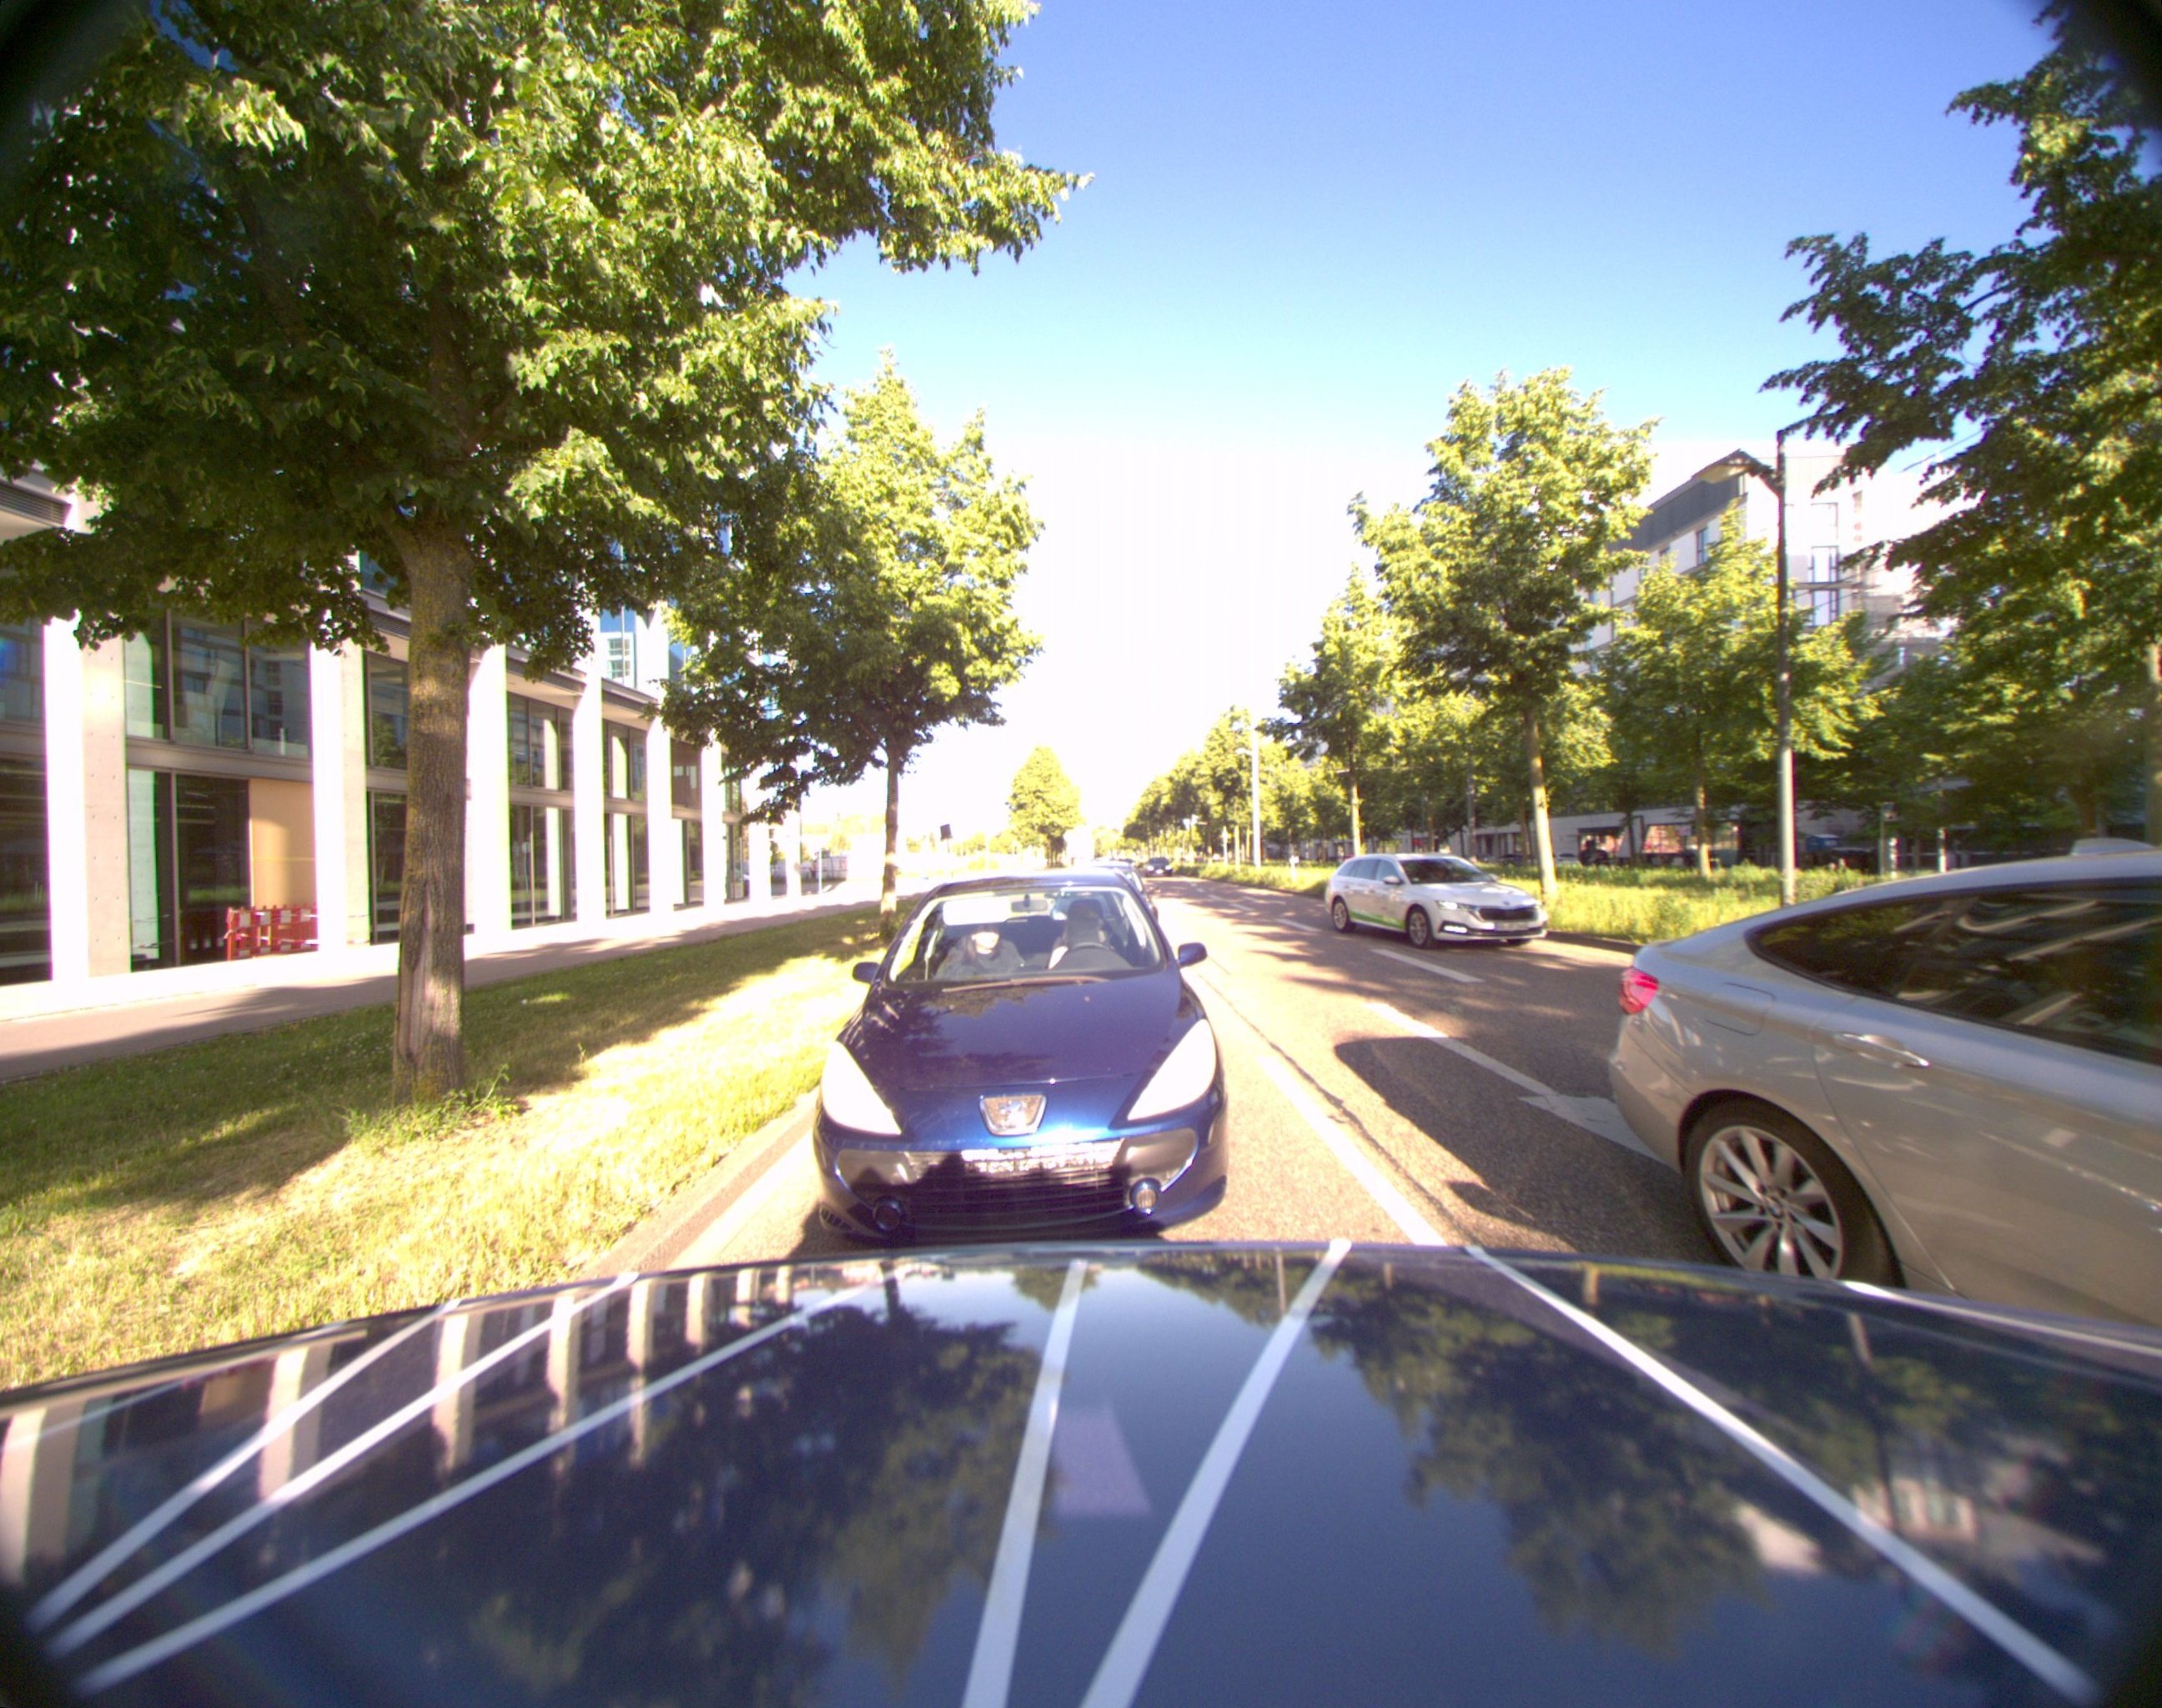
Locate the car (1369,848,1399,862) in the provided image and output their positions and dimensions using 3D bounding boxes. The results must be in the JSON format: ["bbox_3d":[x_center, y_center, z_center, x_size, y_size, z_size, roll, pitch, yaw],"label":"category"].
[{"bbox_3d":[35.494,0.153,89.019,1.884,1.588,4.184,-1,0,1],"label":"car"}]

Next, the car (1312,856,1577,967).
[{"bbox_3d":[5.646,0.784,12.582,1.804,1.439,4.566,-1,0,-6],"label":"car"}]

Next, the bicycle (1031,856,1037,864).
[{"bbox_3d":[-8.655,1.114,139.920,0.931,1.355,4.000,-1,0,1],"label":"bicycle"}]

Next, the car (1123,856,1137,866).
[{"bbox_3d":[6.789,0.956,105.814,1.878,1.415,4.344,-1,0,2],"label":"car"}]

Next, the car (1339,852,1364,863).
[{"bbox_3d":[35.792,0.475,100.587,1.998,1.387,4.001,-1,0,3],"label":"car"}]

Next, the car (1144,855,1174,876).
[{"bbox_3d":[5.773,0.826,56.592,1.861,1.482,4.000,-1,0,1],"label":"car"}]

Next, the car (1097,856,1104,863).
[{"bbox_3d":[4.891,1.322,189.920,1.878,1.561,4.344,-1,0,2],"label":"car"}]

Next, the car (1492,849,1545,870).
[{"bbox_3d":[35.184,0.417,61.225,1.884,1.588,4.184,-1,0,1],"label":"car"}]

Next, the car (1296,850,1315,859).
[{"bbox_3d":[36.599,0.028,124.148,1.998,1.387,4.000,-1,0,1],"label":"car"}]

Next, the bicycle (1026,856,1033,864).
[{"bbox_3d":[-9.774,1.149,144.023,0.931,1.355,4.000,-1,0,1],"label":"bicycle"}]

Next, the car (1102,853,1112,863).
[{"bbox_3d":[4.451,0.664,131.350,1.724,1.516,4.000,-1,0,1],"label":"car"}]

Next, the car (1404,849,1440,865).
[{"bbox_3d":[35.025,0.278,78.190,1.884,1.588,4.184,-1,0,1],"label":"car"}]

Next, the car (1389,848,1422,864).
[{"bbox_3d":[35.437,0.208,83.098,1.884,1.588,4.184,-1,0,1],"label":"car"}]

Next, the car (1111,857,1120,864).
[{"bbox_3d":[7.614,1.400,168.315,1.878,1.577,4.344,-1,0,2],"label":"car"}]

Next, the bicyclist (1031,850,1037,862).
[{"bbox_3d":[-8.675,0.356,139.824,0.931,2.045,1.121,-1,1,1],"label":"bicyclist"}]

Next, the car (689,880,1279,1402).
[{"bbox_3d":[-0.283,0.999,4.672,1.846,1.473,4.481,-2,0,1],"label":"car"}]

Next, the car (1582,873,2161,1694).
[{"bbox_3d":[2.954,0.843,0.799,1.824,1.476,4.561,-1,0,0],"label":"car"}]

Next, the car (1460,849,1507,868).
[{"bbox_3d":[35.150,0.373,66.508,1.884,1.588,4.184,-1,0,1],"label":"car"}]

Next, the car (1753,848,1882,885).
[{"bbox_3d":[34.085,0.545,35.346,1.951,1.588,4.184,-1,0,1],"label":"car"}]

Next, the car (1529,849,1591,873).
[{"bbox_3d":[34.897,0.484,55.517,1.884,1.588,4.184,-1,0,1],"label":"car"}]

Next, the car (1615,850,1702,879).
[{"bbox_3d":[34.008,0.605,44.912,1.951,1.588,4.184,-1,0,1],"label":"car"}]

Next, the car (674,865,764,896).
[{"bbox_3d":[-20.043,1.437,42.138,3.996,1.569,2.000,-1,0,3],"label":"car"}]

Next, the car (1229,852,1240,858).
[{"bbox_3d":[36.098,0.196,179.226,1.998,1.387,4.001,-1,0,4],"label":"car"}]

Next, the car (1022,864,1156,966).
[{"bbox_3d":[0.146,0.952,13.859,1.998,1.437,4.622,-1,0,1],"label":"car"}]
